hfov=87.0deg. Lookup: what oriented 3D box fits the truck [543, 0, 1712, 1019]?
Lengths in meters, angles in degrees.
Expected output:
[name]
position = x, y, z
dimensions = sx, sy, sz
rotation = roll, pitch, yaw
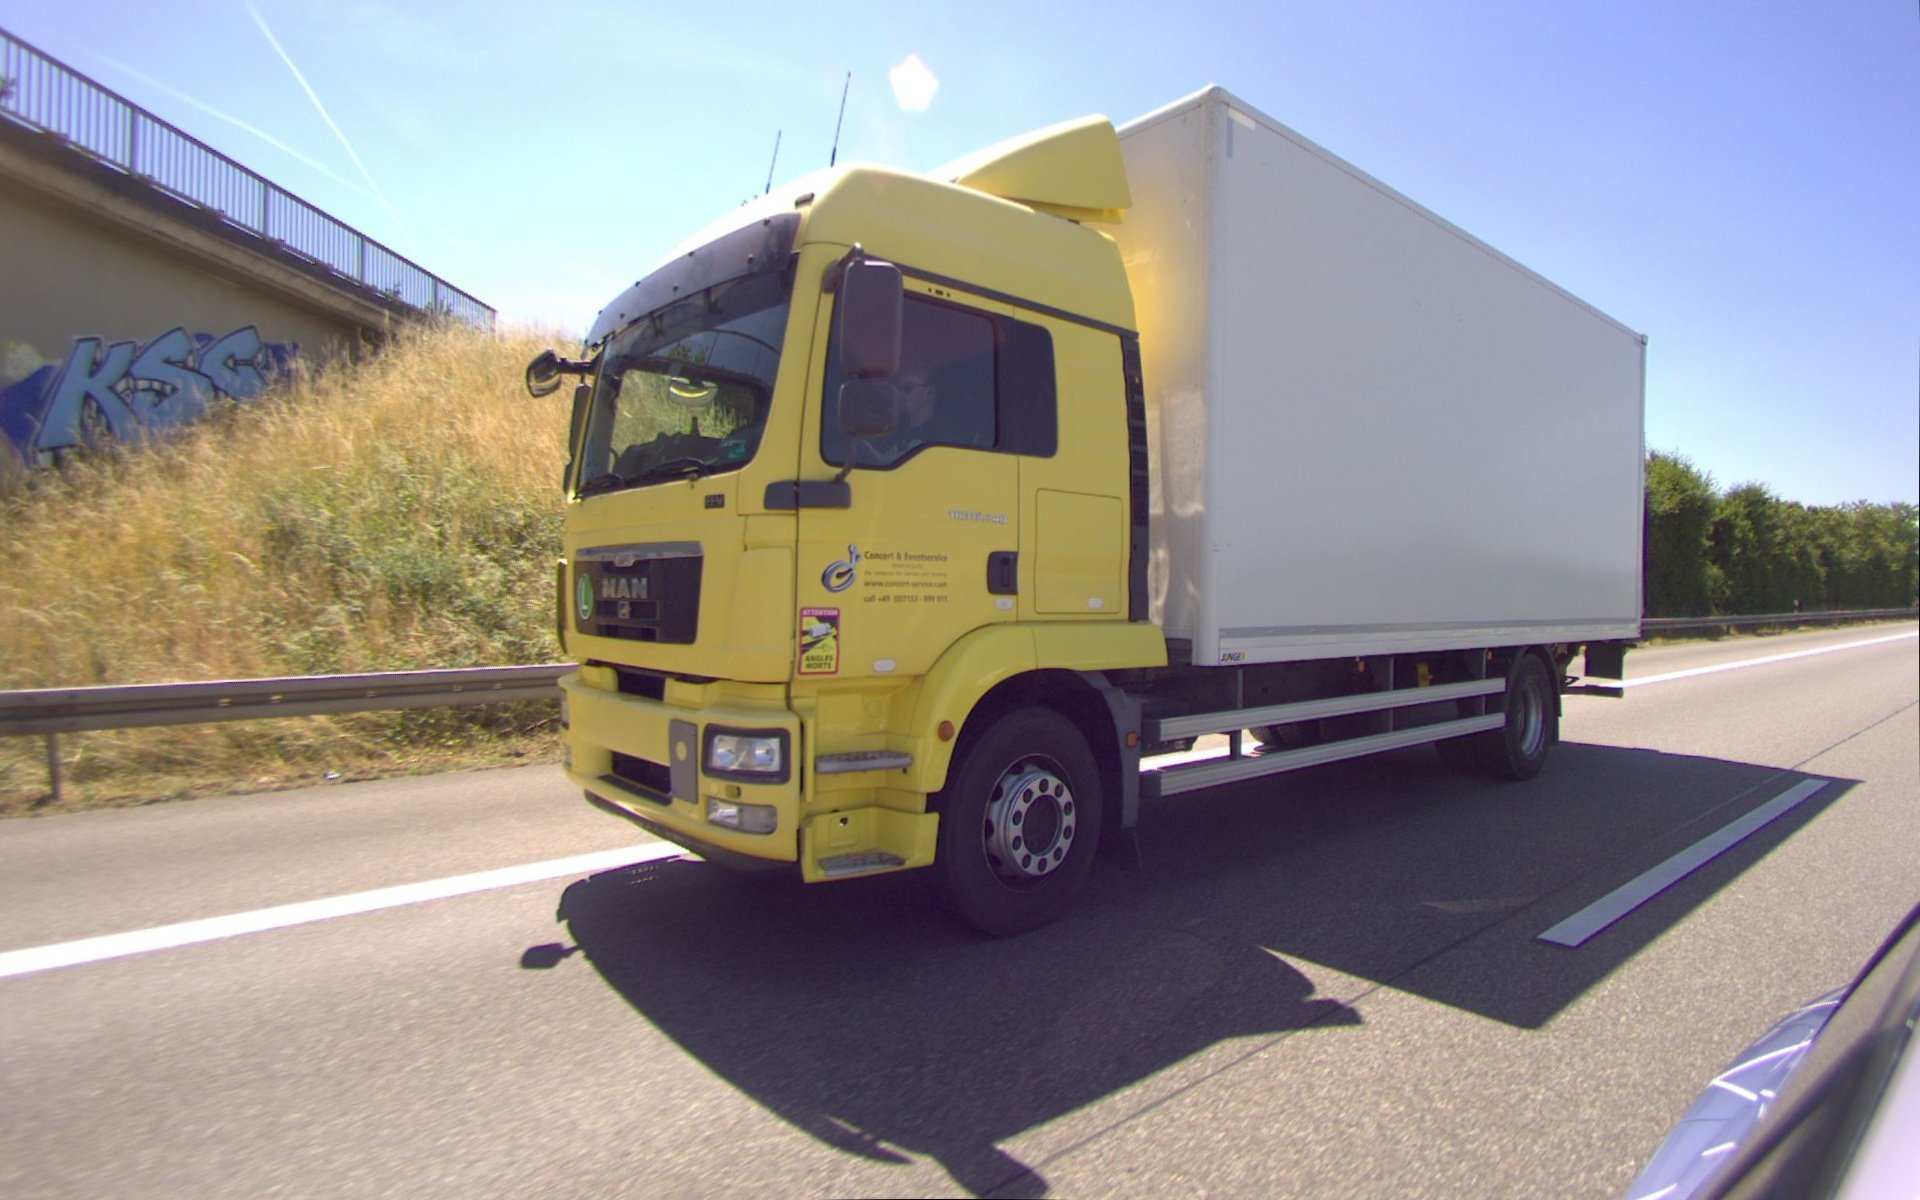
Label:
[truck]
position = 2.629, -0.804, 7.839
dimensions = 10.494, 4.253, 2.938
rotation = 0, 0, -41
